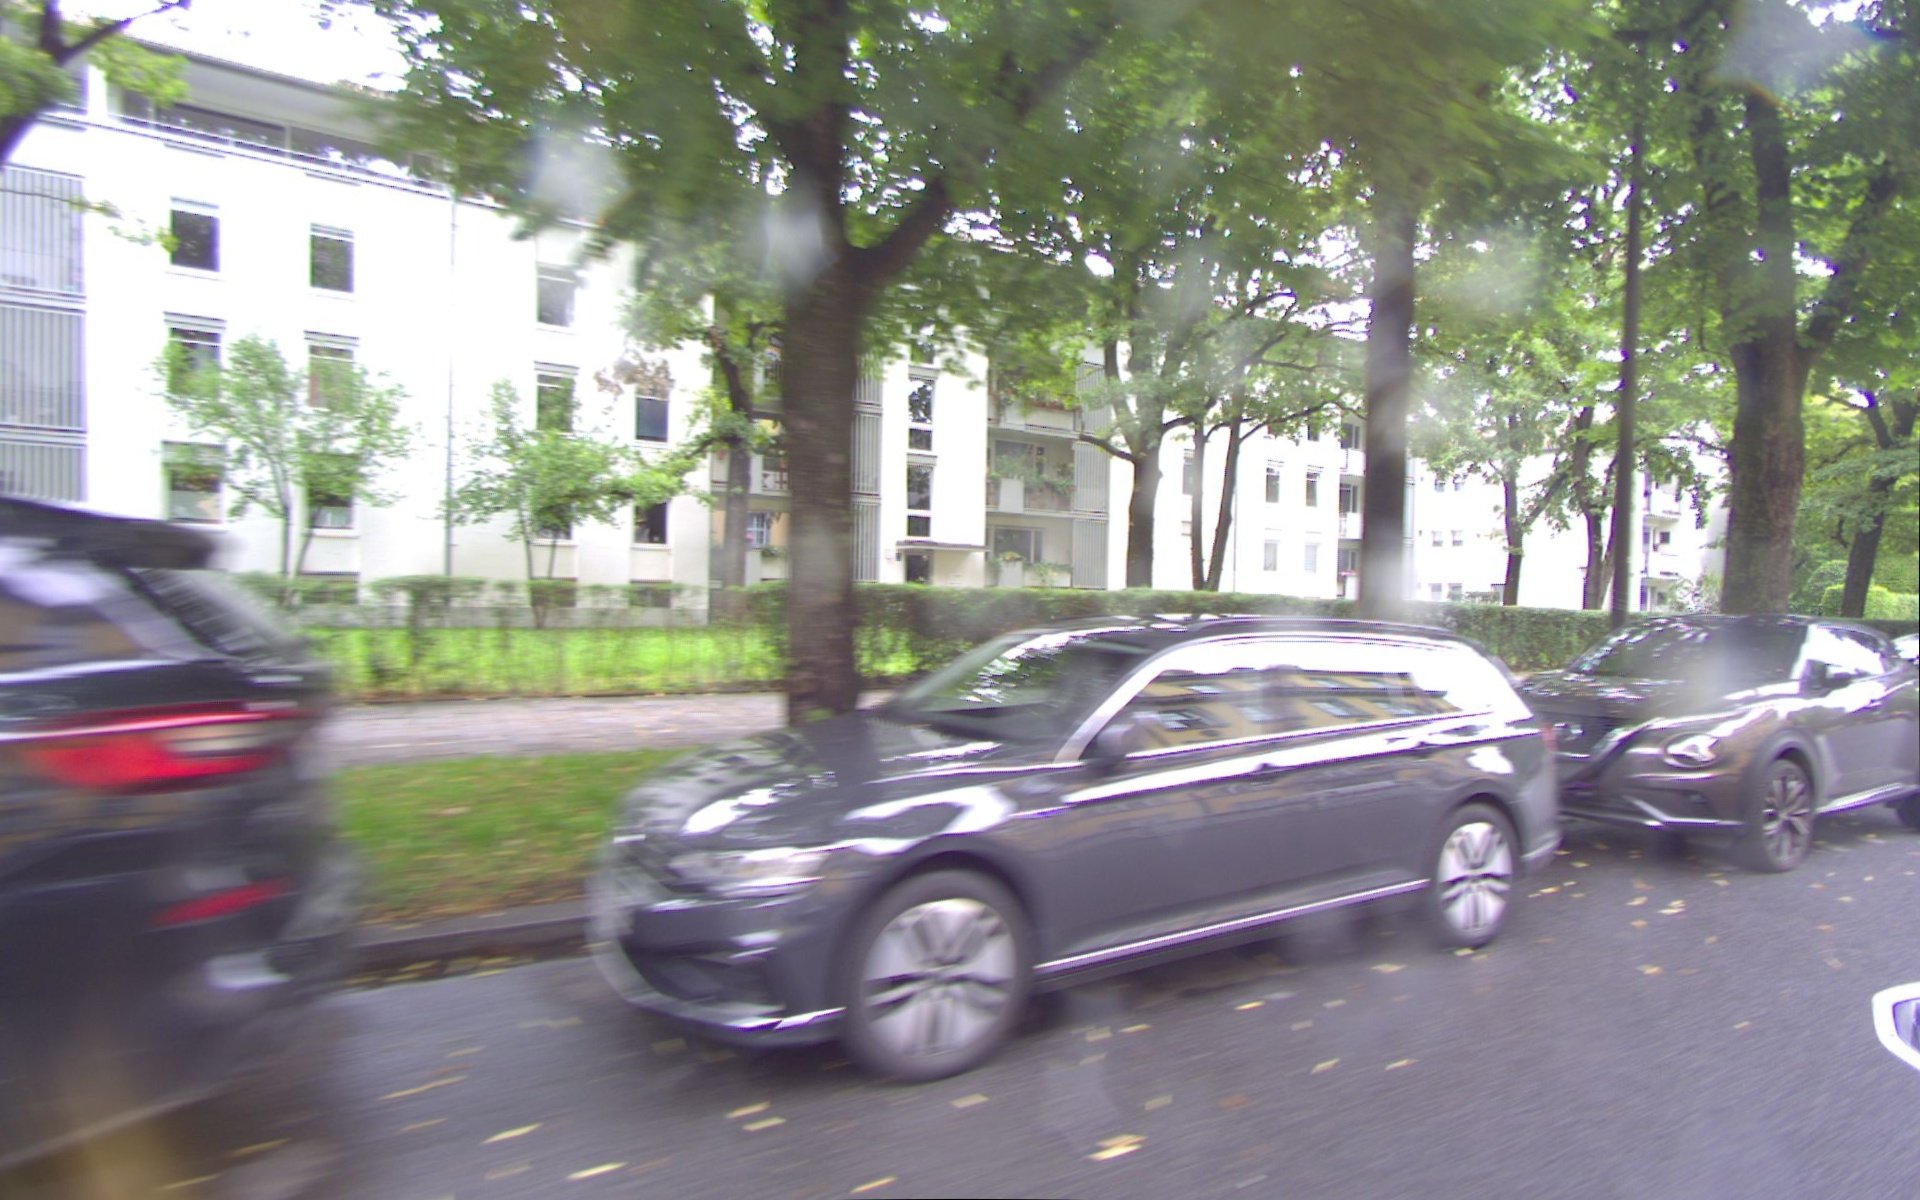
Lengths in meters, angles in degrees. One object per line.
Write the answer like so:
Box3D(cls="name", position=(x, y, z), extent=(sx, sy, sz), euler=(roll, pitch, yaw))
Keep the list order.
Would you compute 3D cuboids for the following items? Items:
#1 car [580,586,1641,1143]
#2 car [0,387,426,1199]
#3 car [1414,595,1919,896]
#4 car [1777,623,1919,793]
Box3D(cls="car", position=(0.866, 0.754, 4.539), extent=(4.637, 1.470, 1.711), euler=(2, 0, -29))
Box3D(cls="car", position=(-3.770, 0.481, 1.863), extent=(4.860, 1.821, 1.985), euler=(2, -1, -29))
Box3D(cls="car", position=(5.509, 0.822, 7.304), extent=(4.433, 1.595, 1.777), euler=(1, 1, -30))
Box3D(cls="car", position=(10.066, 0.991, 9.927), extent=(4.201, 1.442, 1.719), euler=(1, 0, -30))
